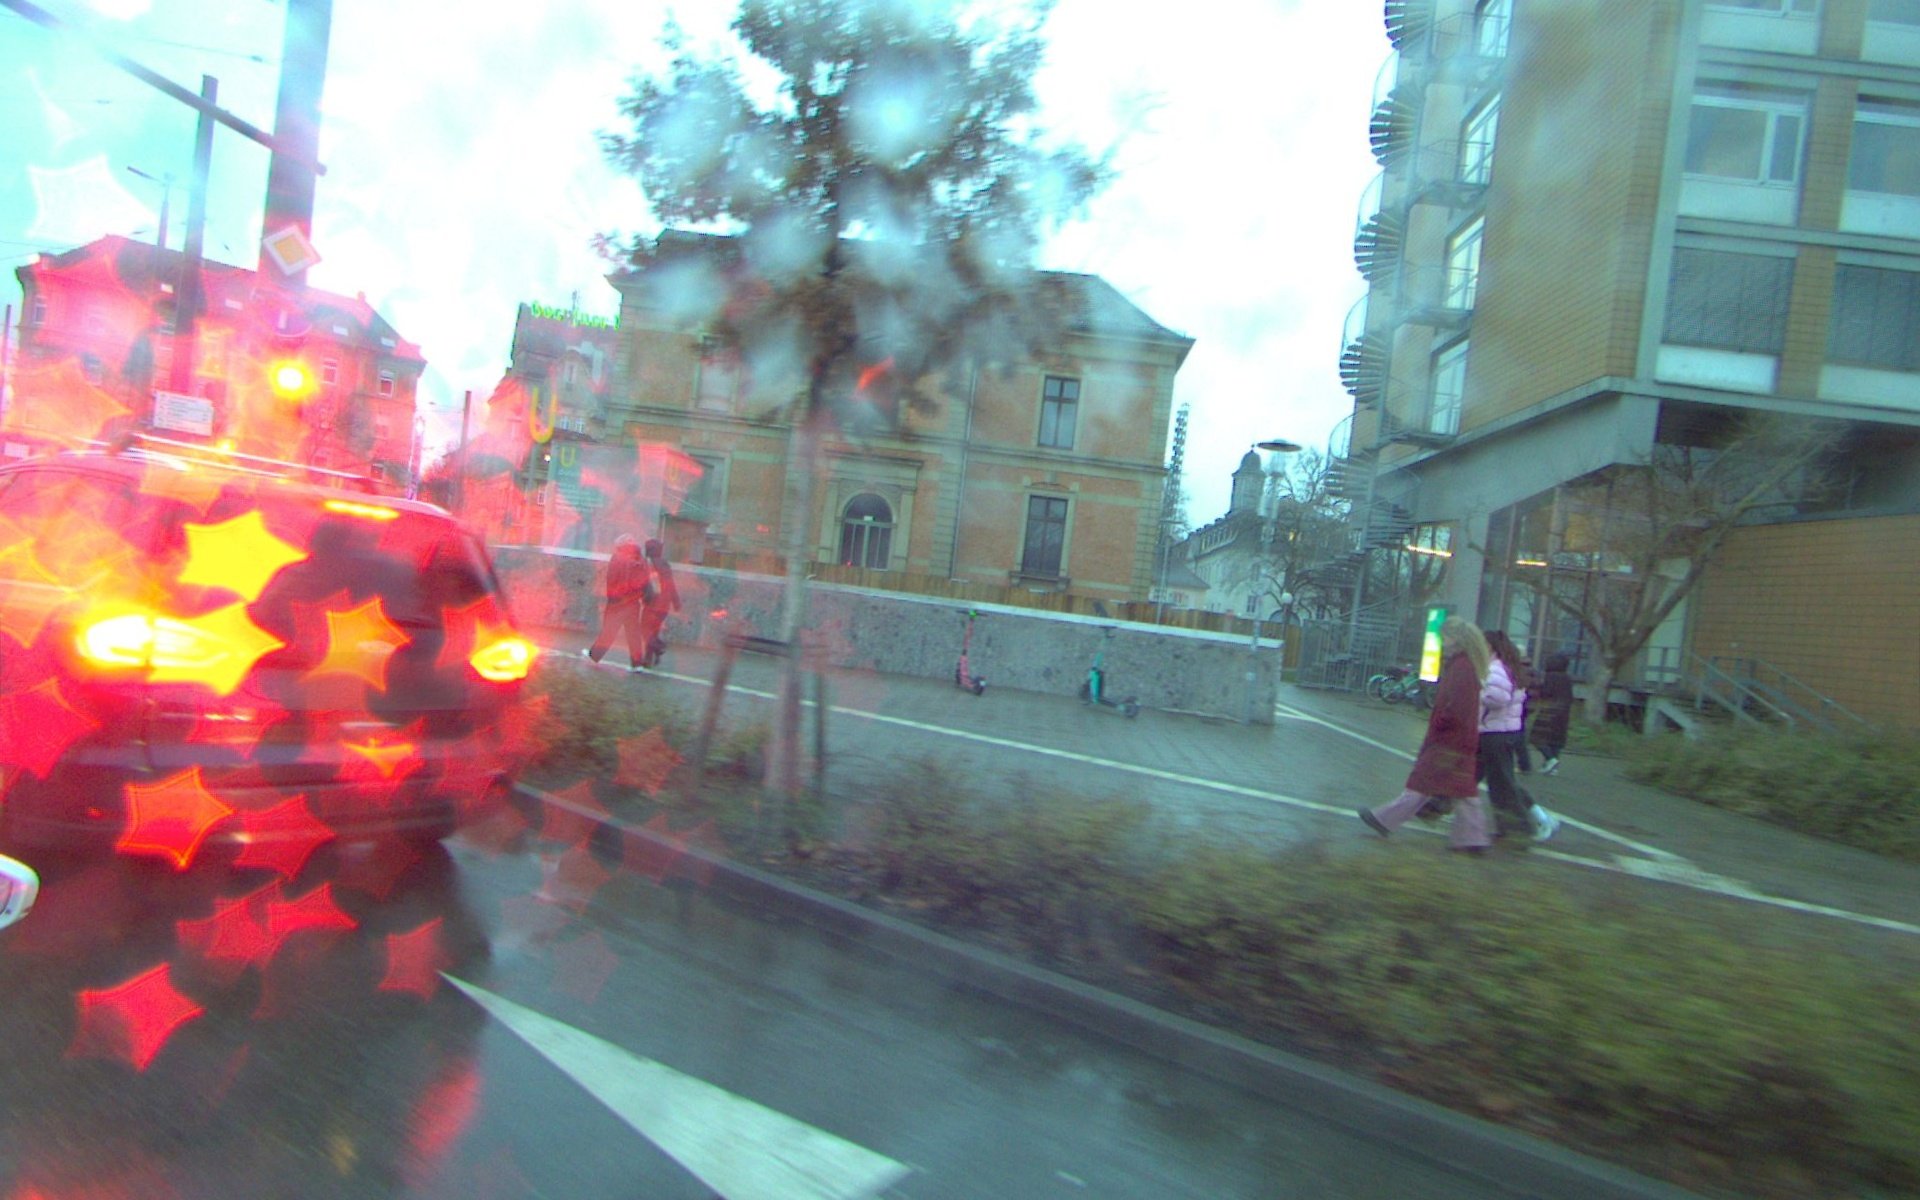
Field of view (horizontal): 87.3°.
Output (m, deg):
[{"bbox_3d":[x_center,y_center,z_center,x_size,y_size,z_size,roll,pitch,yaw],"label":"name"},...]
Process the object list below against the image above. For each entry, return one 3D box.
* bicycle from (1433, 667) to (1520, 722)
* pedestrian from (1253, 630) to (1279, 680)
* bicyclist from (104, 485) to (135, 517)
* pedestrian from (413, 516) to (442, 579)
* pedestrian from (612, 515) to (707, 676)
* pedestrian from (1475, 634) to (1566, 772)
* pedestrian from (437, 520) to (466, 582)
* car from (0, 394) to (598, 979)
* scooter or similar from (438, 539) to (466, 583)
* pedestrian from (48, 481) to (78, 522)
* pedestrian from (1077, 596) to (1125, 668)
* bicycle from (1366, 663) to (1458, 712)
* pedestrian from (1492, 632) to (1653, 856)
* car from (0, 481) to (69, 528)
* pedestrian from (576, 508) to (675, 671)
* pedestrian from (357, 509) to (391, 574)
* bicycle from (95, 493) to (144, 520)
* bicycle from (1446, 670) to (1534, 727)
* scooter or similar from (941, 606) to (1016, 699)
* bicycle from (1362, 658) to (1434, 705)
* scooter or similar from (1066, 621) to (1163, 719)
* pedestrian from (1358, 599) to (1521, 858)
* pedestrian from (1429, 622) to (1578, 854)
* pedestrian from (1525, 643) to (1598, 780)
[{"bbox_3d":[12.816,2.340,24.990,1.761,1.116,0.442,7,1,7],"label":"bicycle"},{"bbox_3d":[10.752,1.931,35.363,0.651,1.678,0.789,7,1,15],"label":"pedestrian"},{"bbox_3d":[-53.214,-6.248,63.677,1.056,1.791,1.046,6,1,-18],"label":"bicyclist"},{"bbox_3d":[-17.703,-1.746,33.451,0.671,1.975,0.656,6,1,-30],"label":"pedestrian"},{"bbox_3d":[-4.096,-0.070,13.694,0.802,2.039,0.753,8,2,-34],"label":"pedestrian"},{"bbox_3d":[7.917,1.430,14.252,0.735,1.814,0.854,7,1,14],"label":"pedestrian"},{"bbox_3d":[-17.104,-1.647,33.815,0.671,1.975,0.656,6,1,-31],"label":"pedestrian"},{"bbox_3d":[-4.035,0.115,5.070,4.353,1.822,1.779,8,0,34],"label":"car"},{"bbox_3d":[-16.762,-1.294,33.178,0.671,1.334,0.820,6,1,-31],"label":"scooter or similar"},{"bbox_3d":[-48.220,-5.290,54.089,0.774,2.039,0.731,6,1,3],"label":"pedestrian"},{"bbox_3d":[3.615,0.804,25.877,0.901,1.726,0.801,6,1,-4],"label":"pedestrian"},{"bbox_3d":[12.095,2.337,26.955,2.021,1.004,0.708,7,1,7],"label":"bicycle"},{"bbox_3d":[5.118,1.182,8.425,0.713,1.709,0.753,6,1,-34],"label":"pedestrian"},{"bbox_3d":[-41.670,-4.303,43.256,1.717,1.678,4.789,7,0,42],"label":"car"},{"bbox_3d":[-4.335,-0.145,13.007,0.802,1.954,0.753,8,2,-34],"label":"pedestrian"},{"bbox_3d":[-18.629,-1.845,31.973,0.669,1.975,0.673,6,1,-22],"label":"pedestrian"},{"bbox_3d":[-53.193,-5.893,63.660,2.177,1.393,0.694,7,1,-21],"label":"bicycle"},{"bbox_3d":[12.809,2.374,24.342,1.761,1.116,0.401,7,1,7],"label":"bicycle"},{"bbox_3d":[0.257,0.761,15.075,0.507,1.229,1.375,6,0,-22],"label":"scooter or similar"},{"bbox_3d":[12.175,2.264,27.960,1.764,1.116,0.390,7,1,-7],"label":"bicycle"},{"bbox_3d":[2.204,0.985,14.496,0.509,1.229,1.372,6,1,-31],"label":"scooter or similar"},{"bbox_3d":[3.618,0.939,7.621,0.579,1.805,0.762,4,2,-33],"label":"pedestrian"},{"bbox_3d":[4.342,1.082,8.054,0.662,1.711,0.606,4,4,-33],"label":"pedestrian"},{"bbox_3d":[8.401,1.539,14.077,0.549,1.814,0.584,7,1,14],"label":"pedestrian"}]
